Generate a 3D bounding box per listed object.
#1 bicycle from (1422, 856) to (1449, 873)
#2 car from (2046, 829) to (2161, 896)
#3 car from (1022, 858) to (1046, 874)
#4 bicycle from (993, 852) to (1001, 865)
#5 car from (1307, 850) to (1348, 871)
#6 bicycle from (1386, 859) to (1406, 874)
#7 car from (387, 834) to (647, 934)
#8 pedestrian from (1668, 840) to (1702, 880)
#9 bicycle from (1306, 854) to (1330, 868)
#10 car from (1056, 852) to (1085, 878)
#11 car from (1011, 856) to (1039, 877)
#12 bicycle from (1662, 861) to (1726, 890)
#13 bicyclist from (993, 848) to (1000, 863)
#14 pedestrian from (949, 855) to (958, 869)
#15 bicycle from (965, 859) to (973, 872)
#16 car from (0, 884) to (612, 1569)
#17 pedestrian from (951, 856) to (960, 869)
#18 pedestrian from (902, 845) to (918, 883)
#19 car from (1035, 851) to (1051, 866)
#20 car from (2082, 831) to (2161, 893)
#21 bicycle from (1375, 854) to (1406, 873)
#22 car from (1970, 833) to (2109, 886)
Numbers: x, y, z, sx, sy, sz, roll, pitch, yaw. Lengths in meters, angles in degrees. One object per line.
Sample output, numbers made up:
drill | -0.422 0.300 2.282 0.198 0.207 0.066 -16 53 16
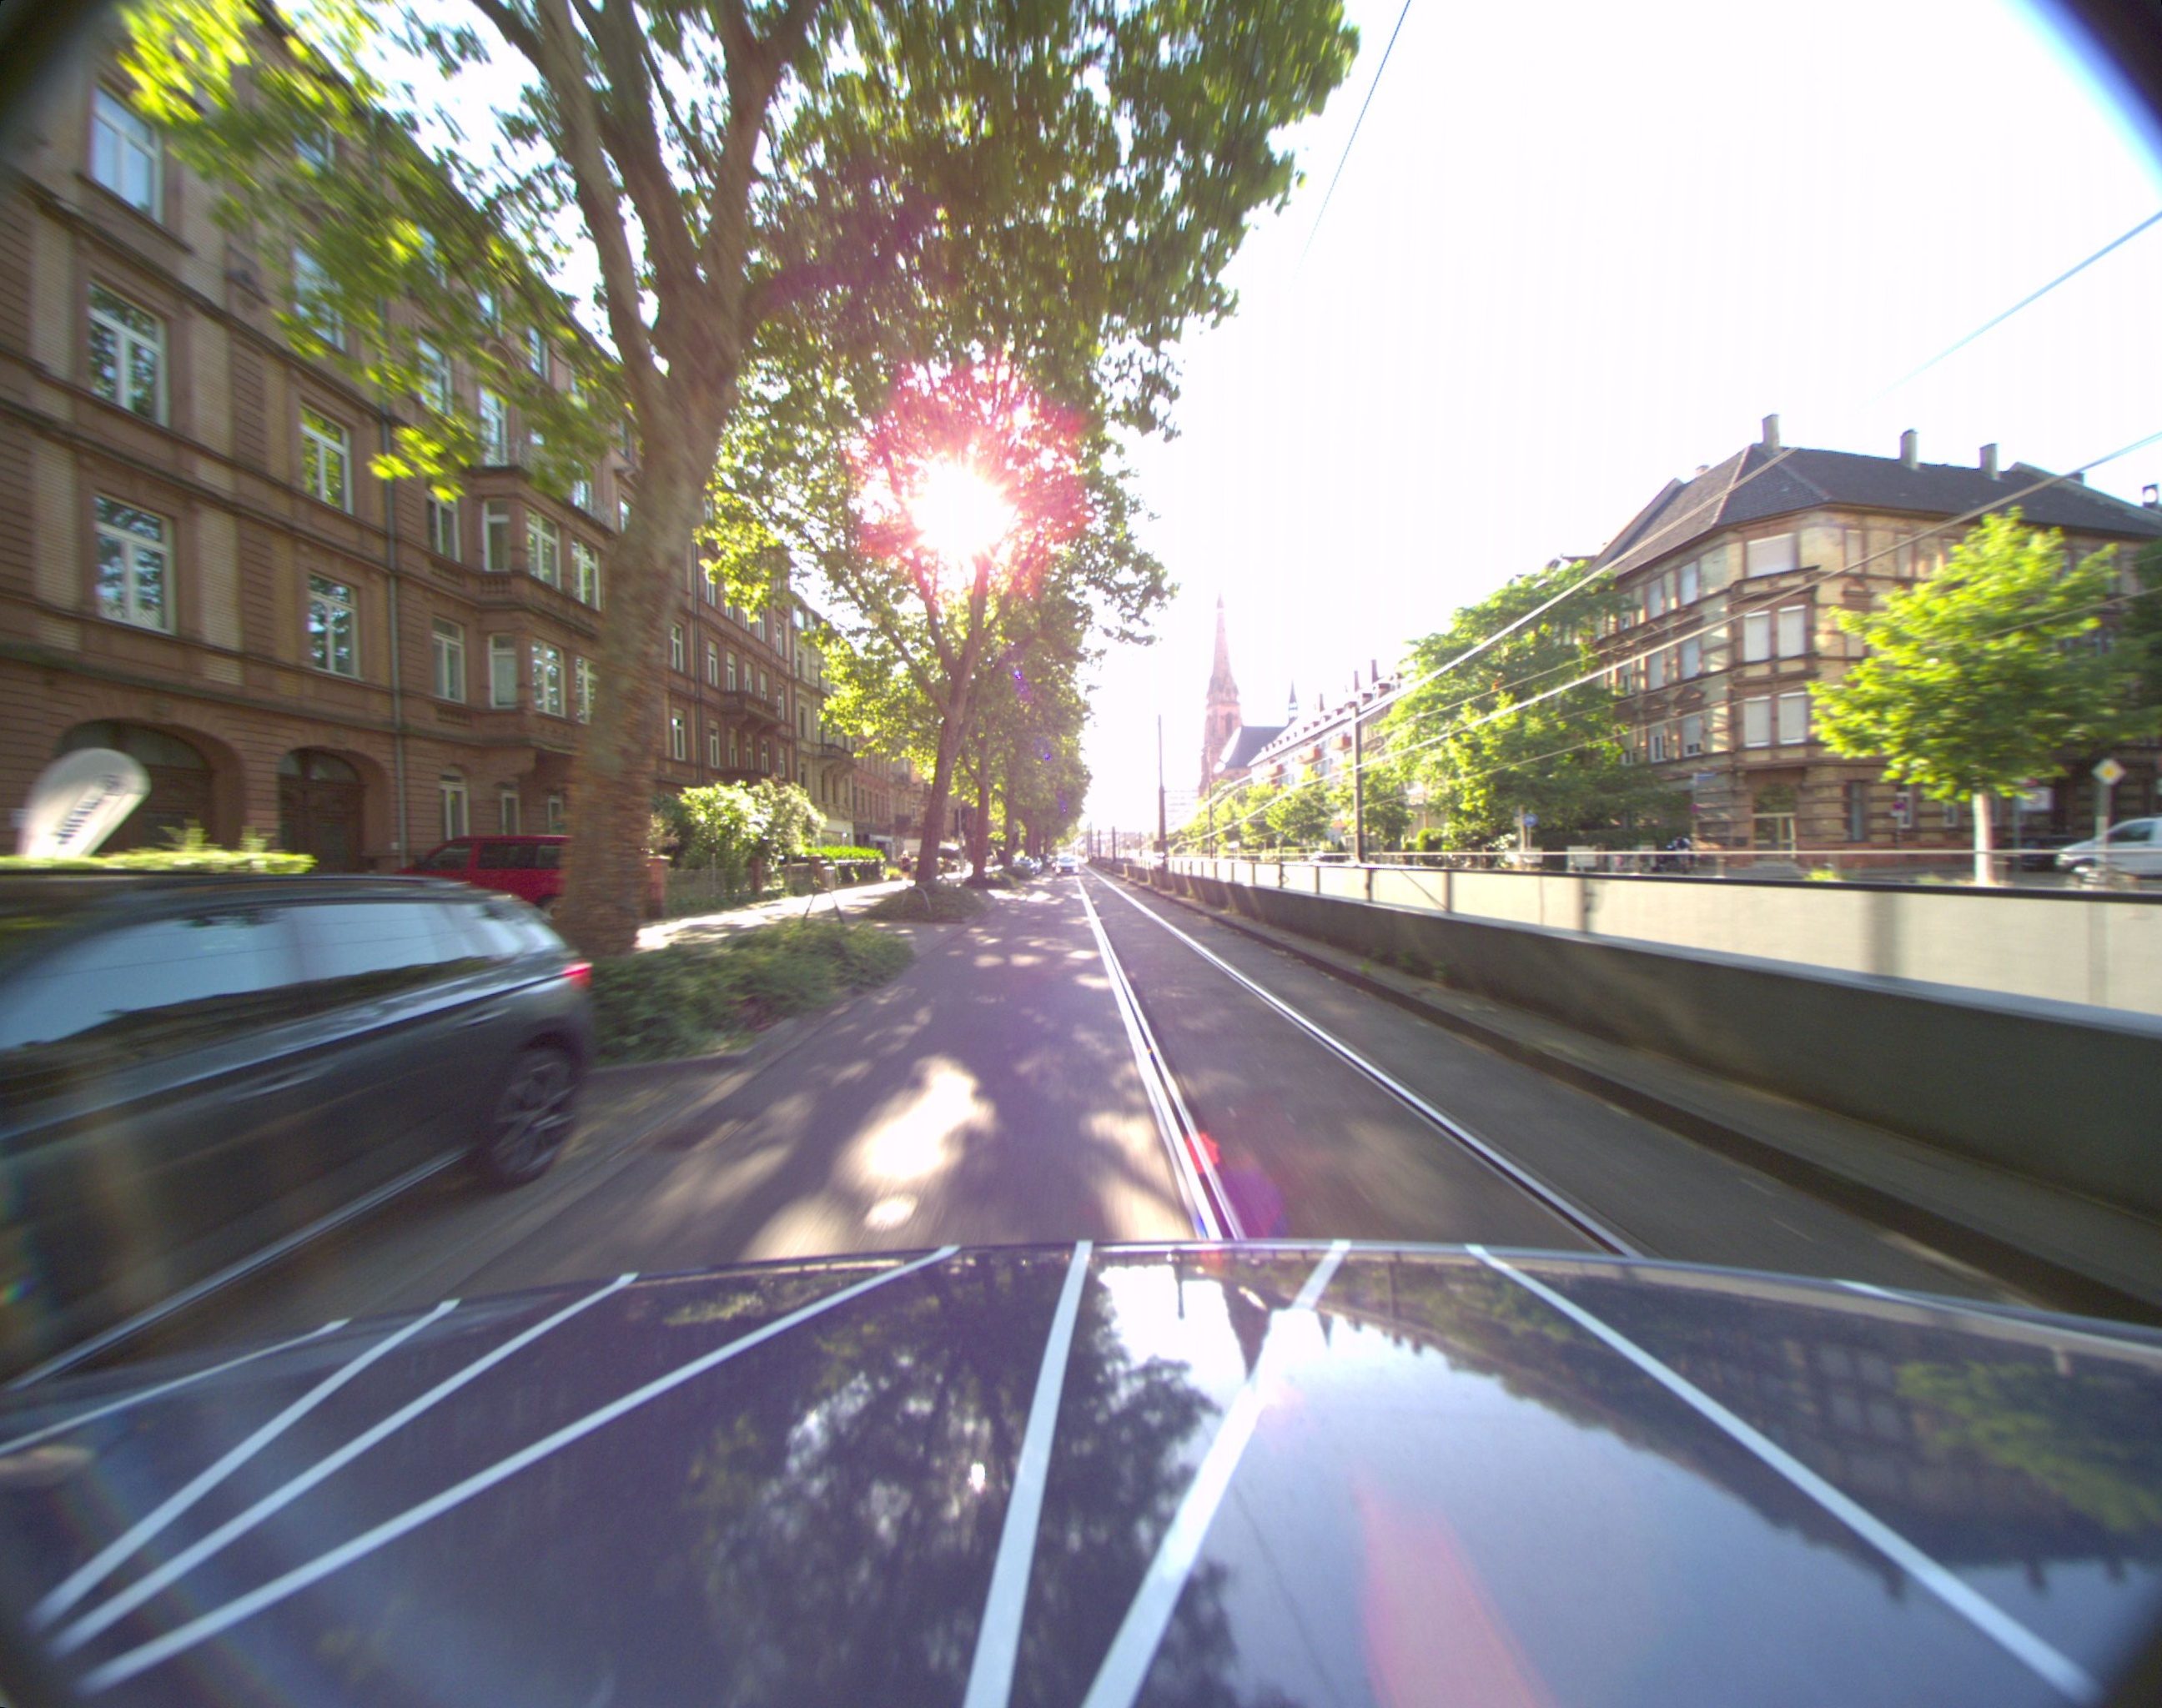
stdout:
bicycle | 23.235 0.666 49.809 0.557 1.092 2.375 -4 0 -1
car | 31.846 0.223 21.936 2.000 1.838 4.476 -4 0 -12
car | -4.112 1.053 66.657 1.835 1.319 3.999 -1 0 -1
bicycle | -7.924 0.466 71.646 0.562 1.171 2.226 -4 0 -2
car | 20.234 0.547 62.608 1.837 1.575 3.999 -4 0 -3
bicycle | 20.677 0.811 49.838 1.270 0.900 0.538 -4 0 -31
car | -12.253 0.628 16.758 4.187 2.002 1.999 1 0 -2
pedestrian | 26.555 0.250 33.410 0.720 1.679 0.865 -4 1 5
bicycle | 20.630 0.607 66.207 1.813 1.171 0.562 -4 1 2
car | -0.758 0.834 58.111 1.823 1.728 4.001 -6 0 3
car | -4.336 0.949 59.670 1.736 1.527 4.805 -1 0 1
bicycle | 24.146 0.830 29.971 0.456 1.000 1.939 -4 4 -32
bicyclist | -7.950 0.123 71.650 0.544 1.372 0.644 -3 -1 -2
pedestrian | -12.384 0.755 73.811 0.714 1.292 0.662 -1 1 -2
bicycle | -10.369 1.037 70.223 0.476 1.137 1.896 1 0 -1
car | -3.477 0.969 2.164 1.621 1.578 4.416 0 0 -1
pedestrian | -12.421 0.805 75.128 0.714 1.292 0.662 -1 1 -1
pedestrian | -9.289 0.546 41.330 0.674 2.002 0.633 -1 1 -1
car | -5.189 0.587 104.180 1.999 2.002 5.201 0 0 -2
car | 34.453 0.229 23.048 2.000 1.838 4.476 -4 0 -12
bicycle | 20.559 0.628 50.450 2.379 1.092 0.556 -4 0 -31
car | 39.423 0.229 31.266 4.449 1.838 1.997 -4 0 -17
